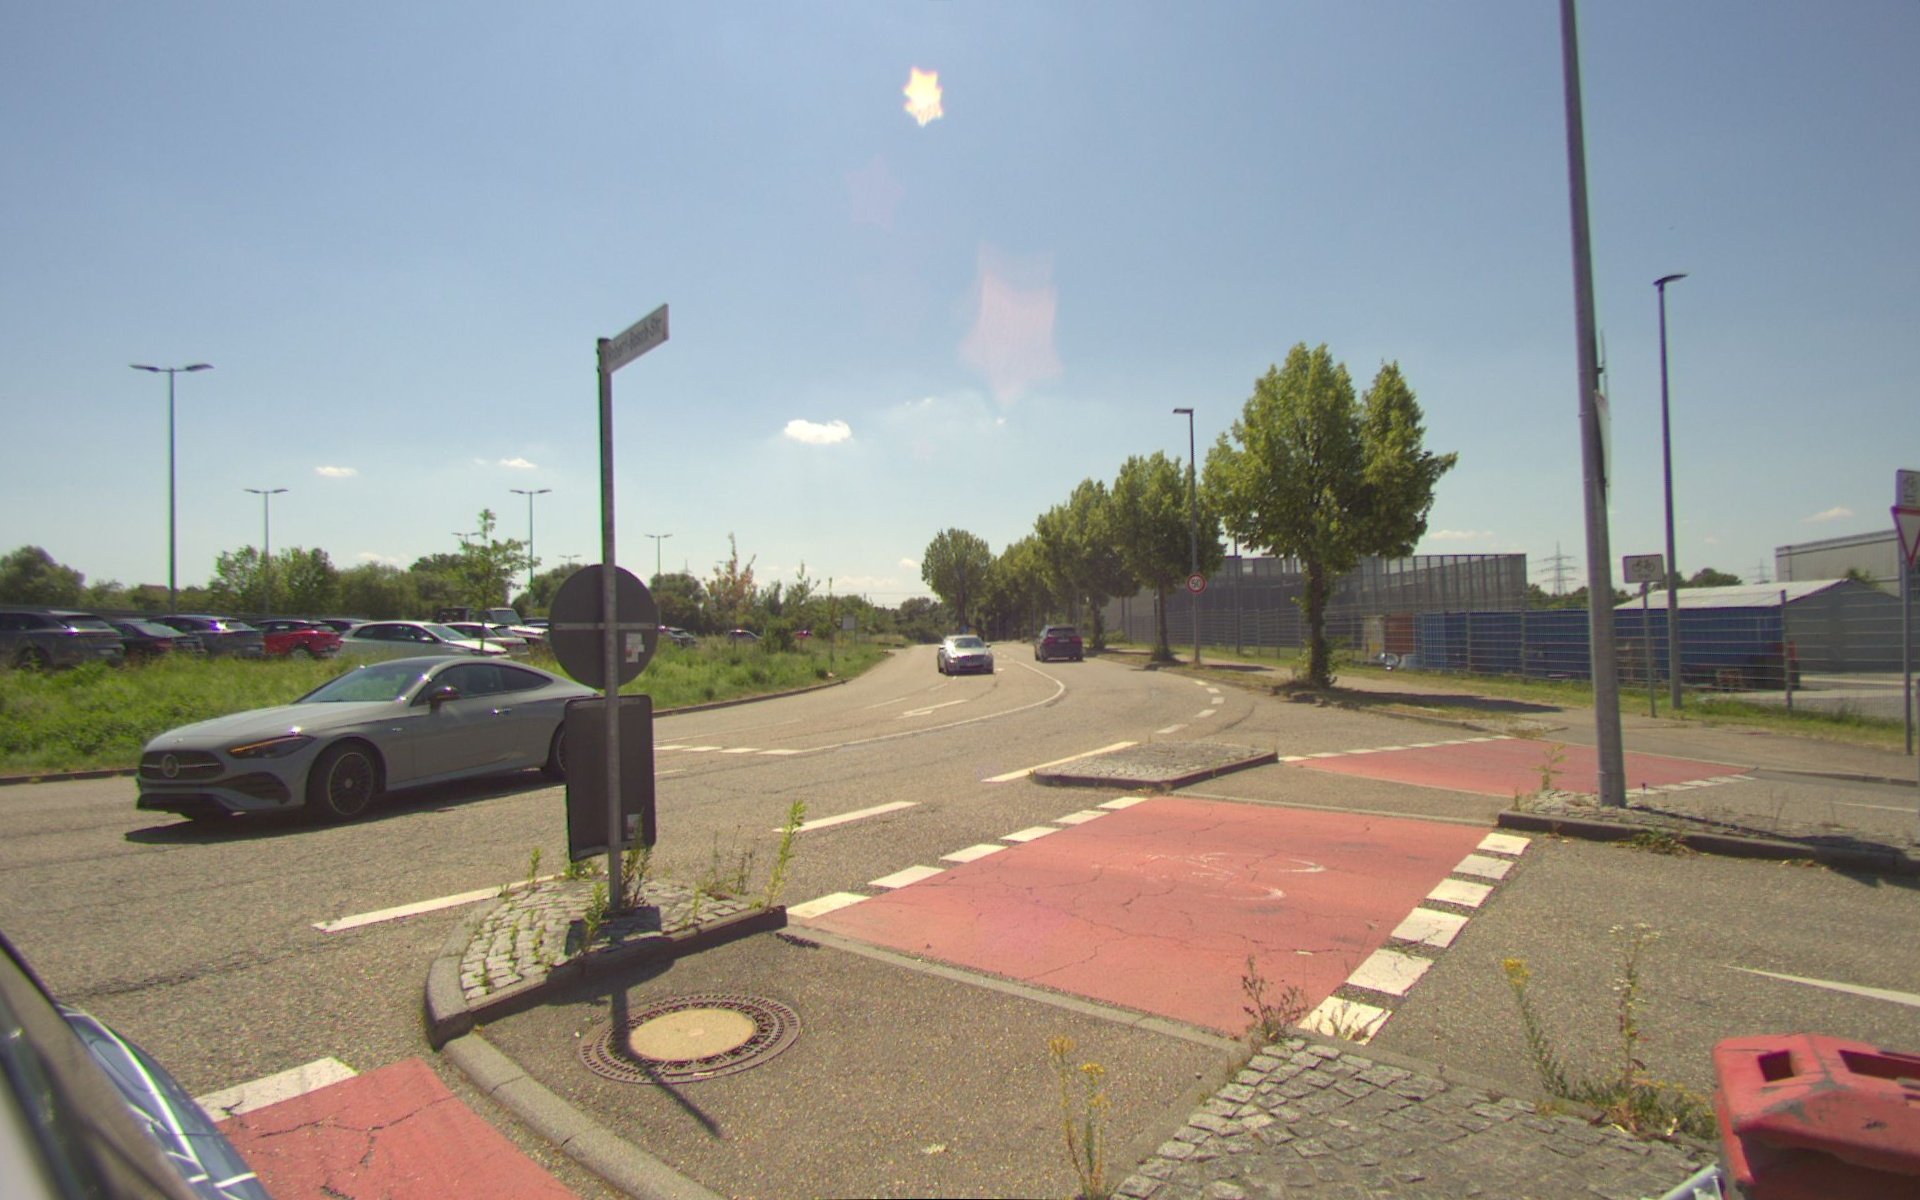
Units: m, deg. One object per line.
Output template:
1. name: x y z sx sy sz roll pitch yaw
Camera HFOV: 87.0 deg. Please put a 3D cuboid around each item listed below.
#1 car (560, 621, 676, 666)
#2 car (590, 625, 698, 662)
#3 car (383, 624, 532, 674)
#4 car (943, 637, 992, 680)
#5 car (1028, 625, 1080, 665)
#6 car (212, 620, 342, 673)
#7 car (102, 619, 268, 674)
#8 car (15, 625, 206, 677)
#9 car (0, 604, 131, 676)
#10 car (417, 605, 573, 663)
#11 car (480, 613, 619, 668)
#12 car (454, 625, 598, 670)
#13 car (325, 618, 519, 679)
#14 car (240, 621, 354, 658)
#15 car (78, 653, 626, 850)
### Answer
1. car: -12.684 1.602 37.708 3.792 1.636 1.618 0 -2 -3
2. car: -13.436 1.849 43.189 3.944 1.301 1.908 -3 -1 0
3. car: -13.307 1.284 26.905 3.224 1.191 1.502 -1 0 -1
4. car: 0.236 2.161 38.345 1.650 1.385 4.497 -4 -1 -1
5. car: 4.201 2.021 46.062 1.844 1.647 4.599 -2 -1 0
6. car: -23.557 1.586 34.987 3.369 1.586 1.524 -3 -1 -4
7. car: -23.275 1.389 30.507 3.586 1.609 1.770 0 -2 -2
8. car: -23.238 1.378 27.790 3.792 1.373 1.653 0 -1 -2
9. car: -23.696 1.047 25.233 4.537 1.703 1.778 -2 -3 -2
10. car: -13.495 0.969 29.485 3.700 1.539 1.874 -1 0 4
11. car: -13.938 1.362 34.514 3.981 1.440 1.689 -6 -1 -3
12. car: -13.729 1.500 32.139 3.888 1.267 1.587 -1 0 -4
13. car: -12.878 1.141 24.366 3.823 1.307 1.574 -1 0 0
14. car: -27.687 1.651 42.363 3.586 1.511 1.770 0 -2 -2
15. car: -5.685 1.322 10.263 1.885 1.394 4.601 -3 -3 21
